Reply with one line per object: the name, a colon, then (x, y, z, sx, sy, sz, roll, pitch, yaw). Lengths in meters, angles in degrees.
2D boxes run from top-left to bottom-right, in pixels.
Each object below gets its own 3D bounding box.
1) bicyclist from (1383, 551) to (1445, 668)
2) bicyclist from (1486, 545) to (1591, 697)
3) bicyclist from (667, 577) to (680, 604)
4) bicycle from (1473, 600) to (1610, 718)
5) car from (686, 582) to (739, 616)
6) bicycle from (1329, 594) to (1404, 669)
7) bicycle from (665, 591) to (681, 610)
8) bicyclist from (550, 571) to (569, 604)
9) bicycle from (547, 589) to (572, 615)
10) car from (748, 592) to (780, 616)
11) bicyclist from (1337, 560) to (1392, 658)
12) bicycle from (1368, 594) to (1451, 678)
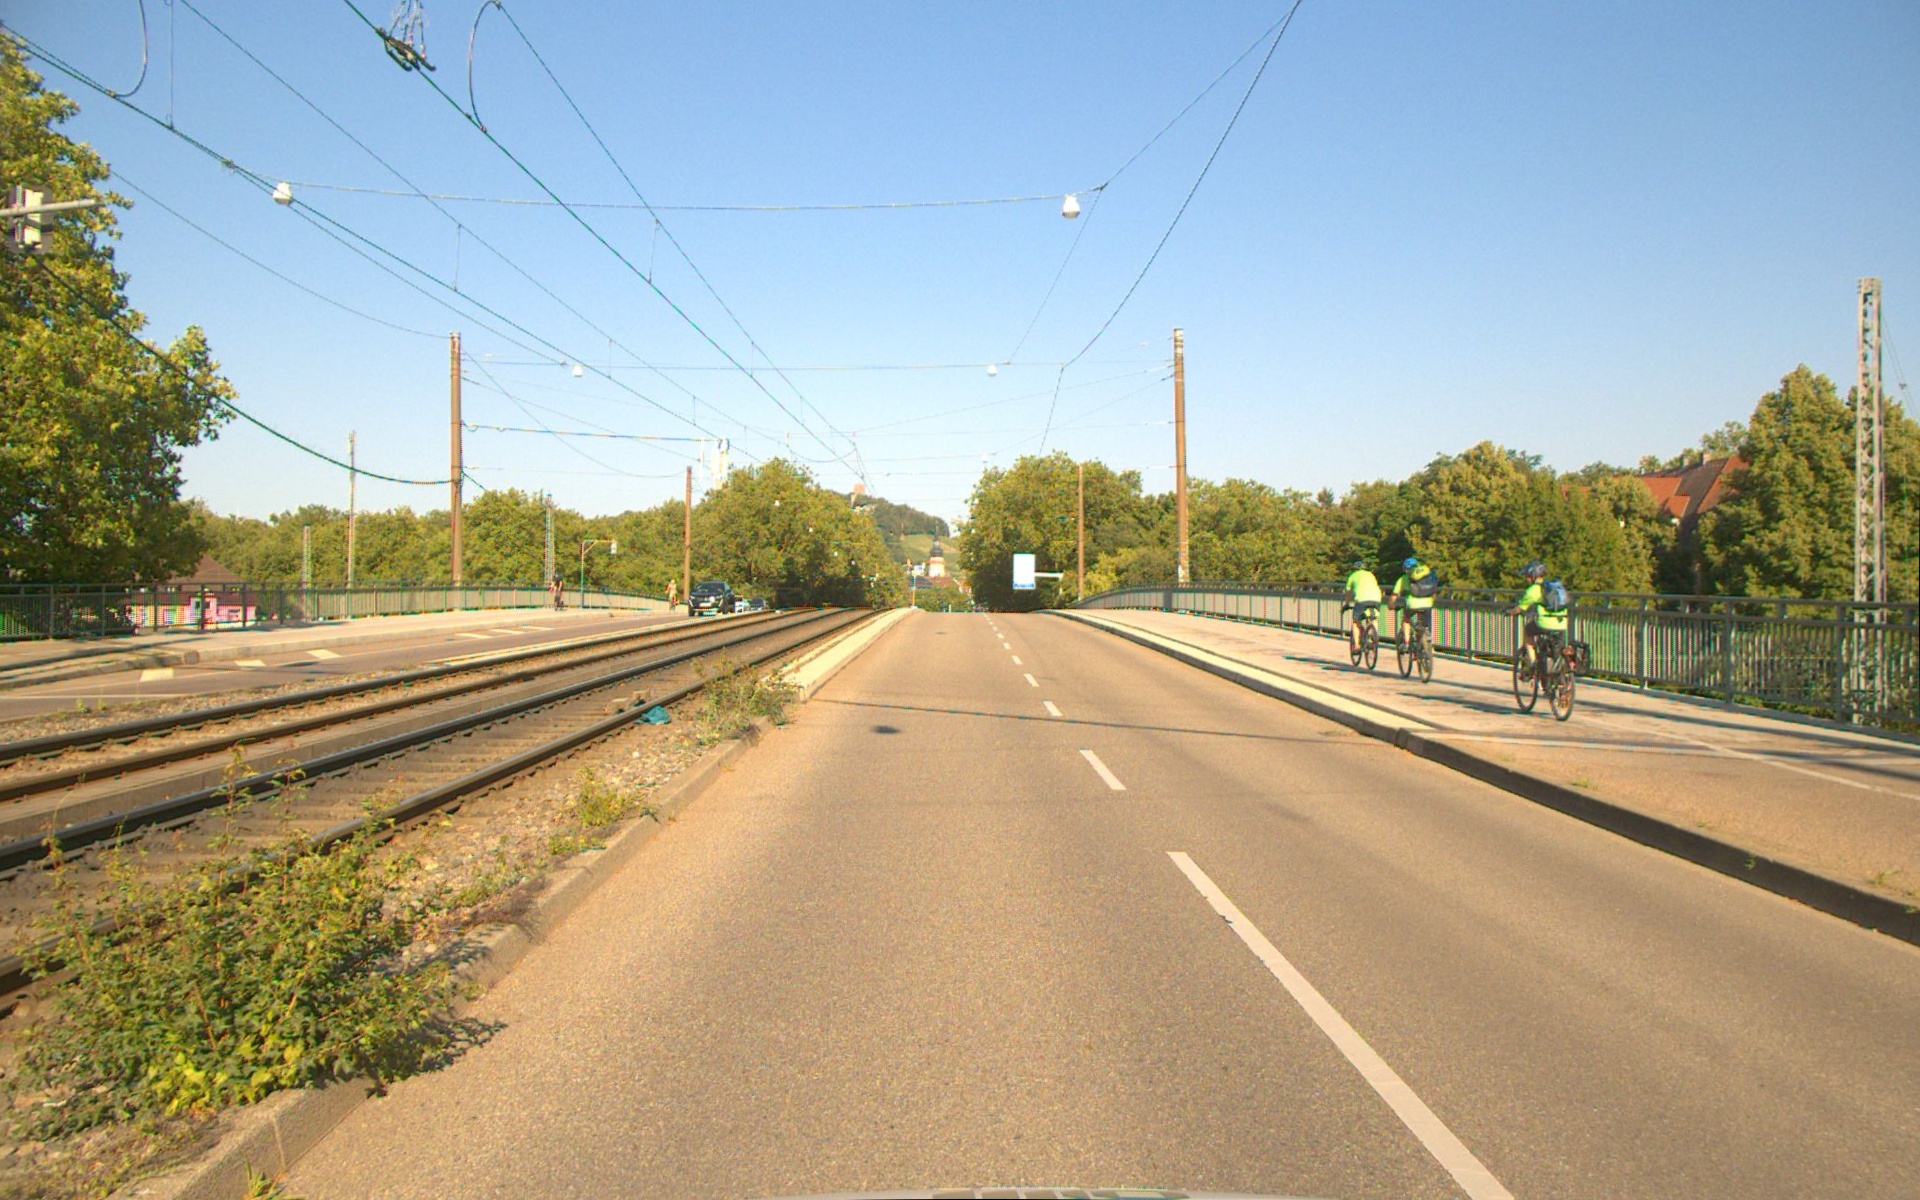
bicyclist: (6.410, 0.127, 23.392, 0.612, 1.620, 0.931, 0, 0, -1)
bicyclist: (6.217, 0.209, 17.811, 0.795, 1.589, 0.896, 0, 1, -1)
bicyclist: (-17.652, -0.565, 102.038, 0.612, 1.662, 0.935, 0, 0, 0)
bicycle: (6.223, 0.600, 17.835, 0.669, 1.142, 2.216, 0, 1, -1)
car: (-11.322, -0.045, 75.775, 1.811, 1.528, 4.218, 0, 0, 0)
bicycle: (6.439, 0.474, 26.316, 0.612, 1.142, 2.259, 0, 0, -1)
bicycle: (-17.659, 0.031, 101.778, 0.612, 1.142, 2.260, 0, 0, 0)
bicyclist: (-17.772, -0.538, 73.420, 0.612, 1.457, 0.968, 0, 0, -2)
bicycle: (-17.776, 0.080, 73.378, 0.612, 1.142, 2.259, 0, 0, -2)
car: (-14.086, 0.279, 119.126, 1.743, 1.679, 4.446, 0, 0, 0)
bicyclist: (6.442, 0.137, 26.356, 0.612, 1.534, 1.006, 0, 0, -1)
bicycle: (6.370, 0.497, 23.538, 0.612, 1.142, 2.041, 0, 0, -1)
